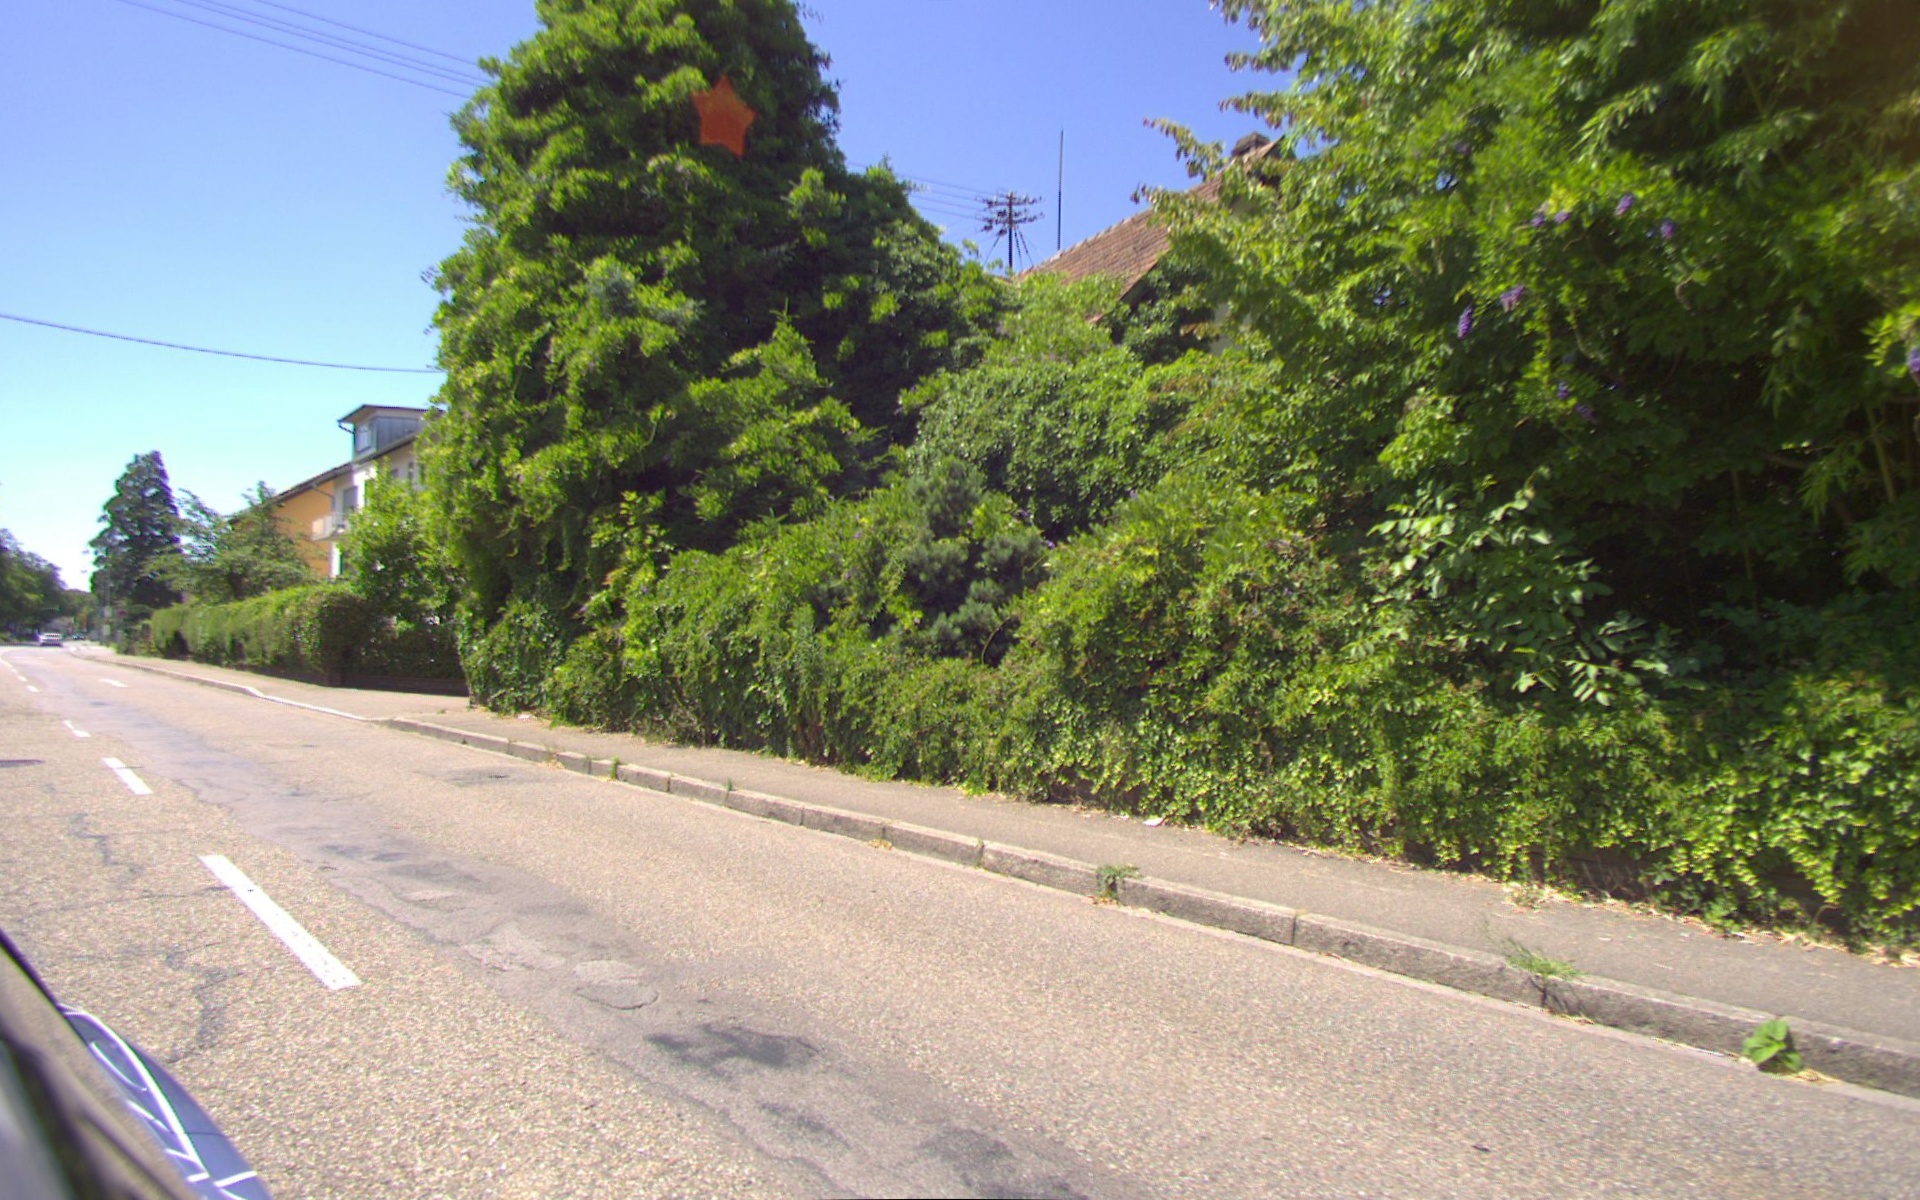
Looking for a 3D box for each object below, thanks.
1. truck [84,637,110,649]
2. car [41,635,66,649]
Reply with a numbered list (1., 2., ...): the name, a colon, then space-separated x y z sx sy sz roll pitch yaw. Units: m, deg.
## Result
1. truck: -173.236 8.681 203.225 2.579 2.258 6.277 1 -3 -28
2. car: -93.820 4.337 104.687 1.661 1.383 4.209 5 -5 -44
